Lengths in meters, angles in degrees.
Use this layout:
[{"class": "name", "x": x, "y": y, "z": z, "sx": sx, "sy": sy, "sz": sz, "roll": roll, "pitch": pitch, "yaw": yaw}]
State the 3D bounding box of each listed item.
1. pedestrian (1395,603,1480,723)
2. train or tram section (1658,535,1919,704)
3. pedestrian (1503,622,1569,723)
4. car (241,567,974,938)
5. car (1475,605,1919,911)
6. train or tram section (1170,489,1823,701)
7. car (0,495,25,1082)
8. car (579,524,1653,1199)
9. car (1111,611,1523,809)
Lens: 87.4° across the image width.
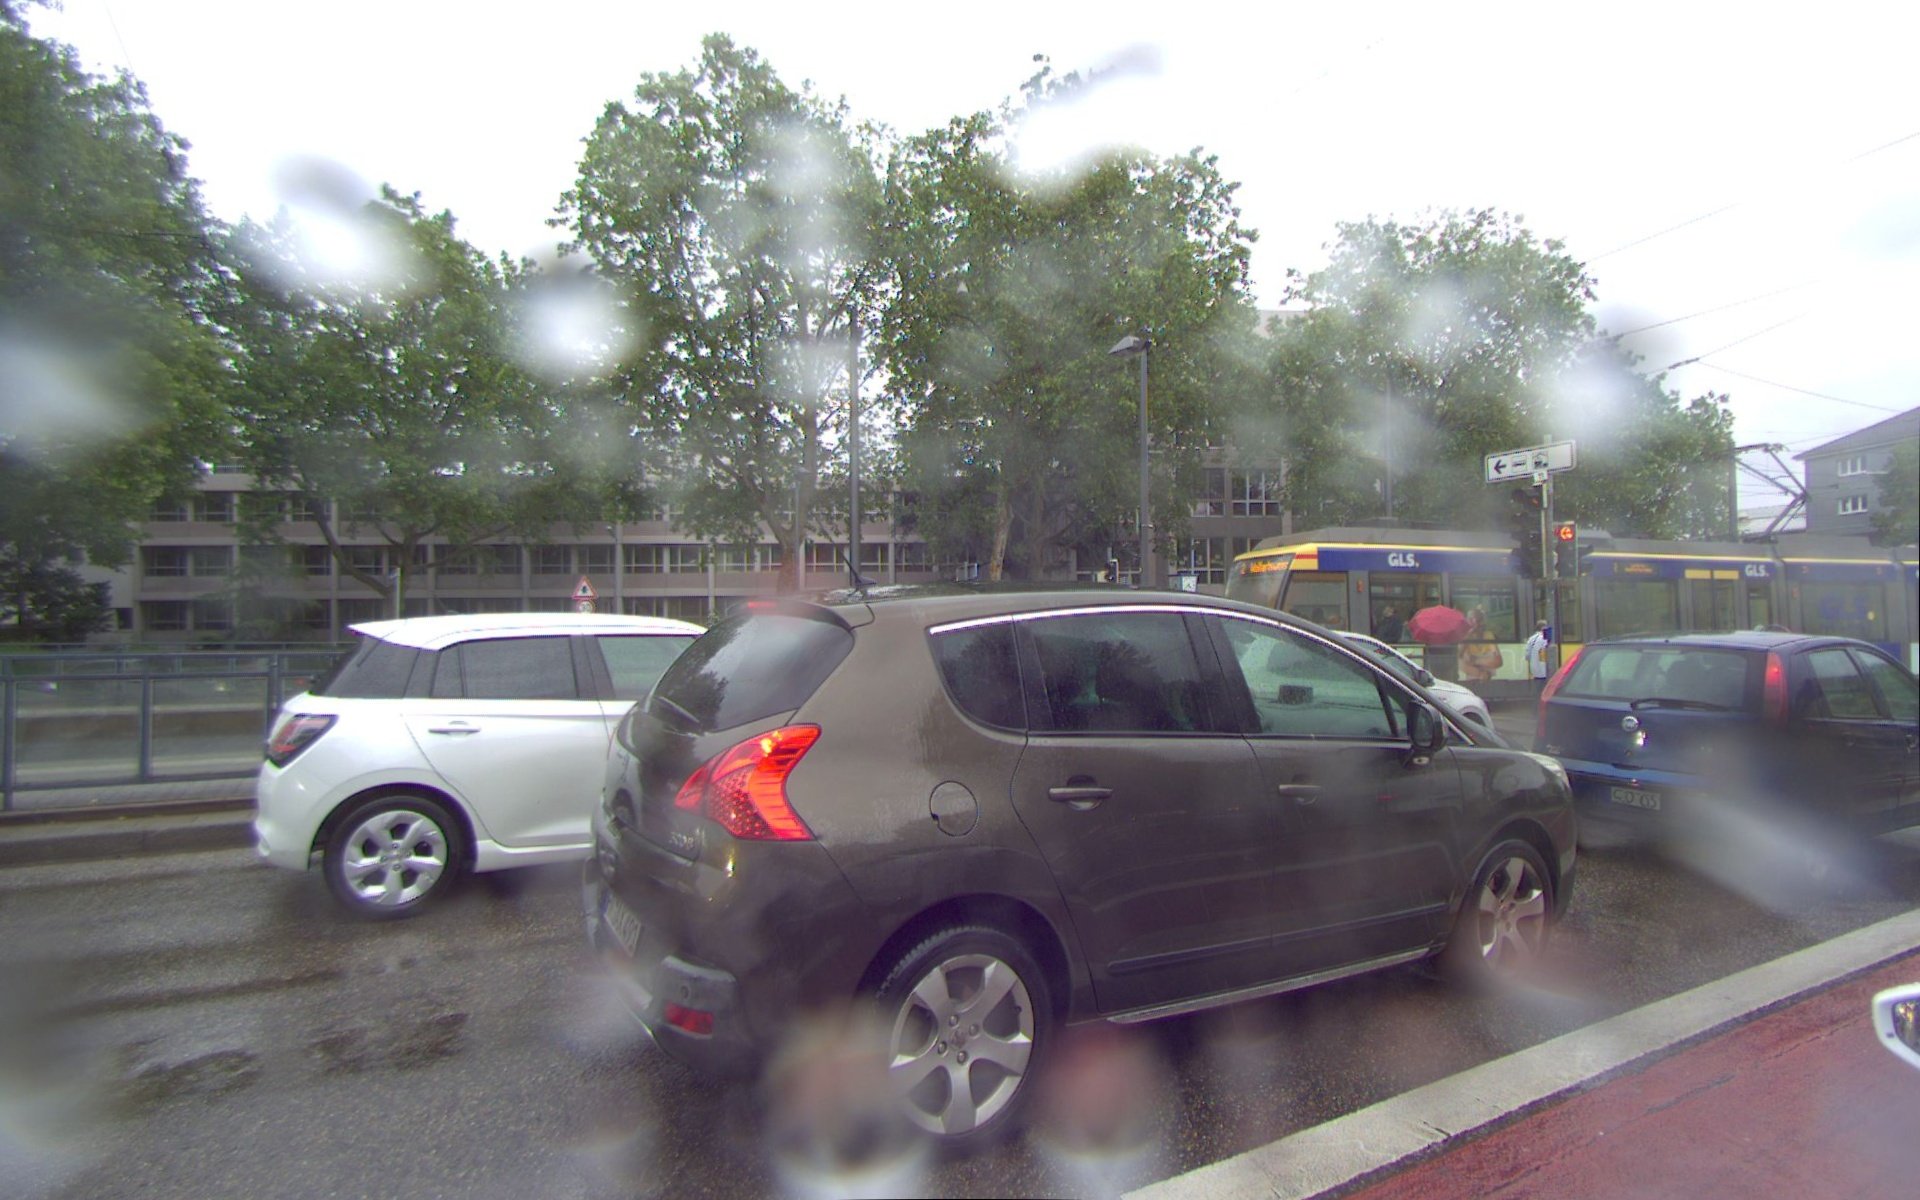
[{"class": "pedestrian", "x": 7.342, "y": 0.956, "z": 15.450, "sx": 0.888, "sy": 1.769, "sz": 0.762, "roll": 0, "pitch": -3, "yaw": -30}, {"class": "train or tram section", "x": 24.815, "y": 0.580, "z": 23.132, "sx": 15.203, "sy": 3.458, "sz": 3.551, "roll": 2, "pitch": 0, "yaw": -2}, {"class": "pedestrian", "x": 9.557, "y": 1.187, "z": 16.675, "sx": 0.731, "sy": 1.628, "sz": 0.623, "roll": 1, "pitch": 0, "yaw": -23}, {"class": "car", "x": -1.955, "y": 0.736, "z": 6.154, "sx": 3.791, "sy": 1.650, "sz": 1.637, "roll": 1, "pitch": -2, "yaw": -30}, {"class": "car", "x": 5.535, "y": 0.875, "z": 6.987, "sx": 3.776, "sy": 1.599, "sz": 1.719, "roll": 1, "pitch": -1, "yaw": -30}, {"class": "train or tram section", "x": 11.169, "y": 0.068, "z": 20.634, "sx": 13.444, "sy": 3.559, "sz": 3.510, "roll": 2, "pitch": 0, "yaw": -18}, {"class": "car", "x": -4.366, "y": 0.535, "z": 1.175, "sx": 4.412, "sy": 1.794, "sz": 2.014, "roll": 2, "pitch": -1, "yaw": -31}, {"class": "car", "x": 0.775, "y": 0.720, "z": 4.113, "sx": 4.124, "sy": 1.690, "sz": 1.825, "roll": 1, "pitch": -1, "yaw": -30}, {"class": "car", "x": 3.404, "y": 0.902, "z": 9.429, "sx": 3.738, "sy": 1.514, "sz": 1.621, "roll": 2, "pitch": -1, "yaw": -30}]
